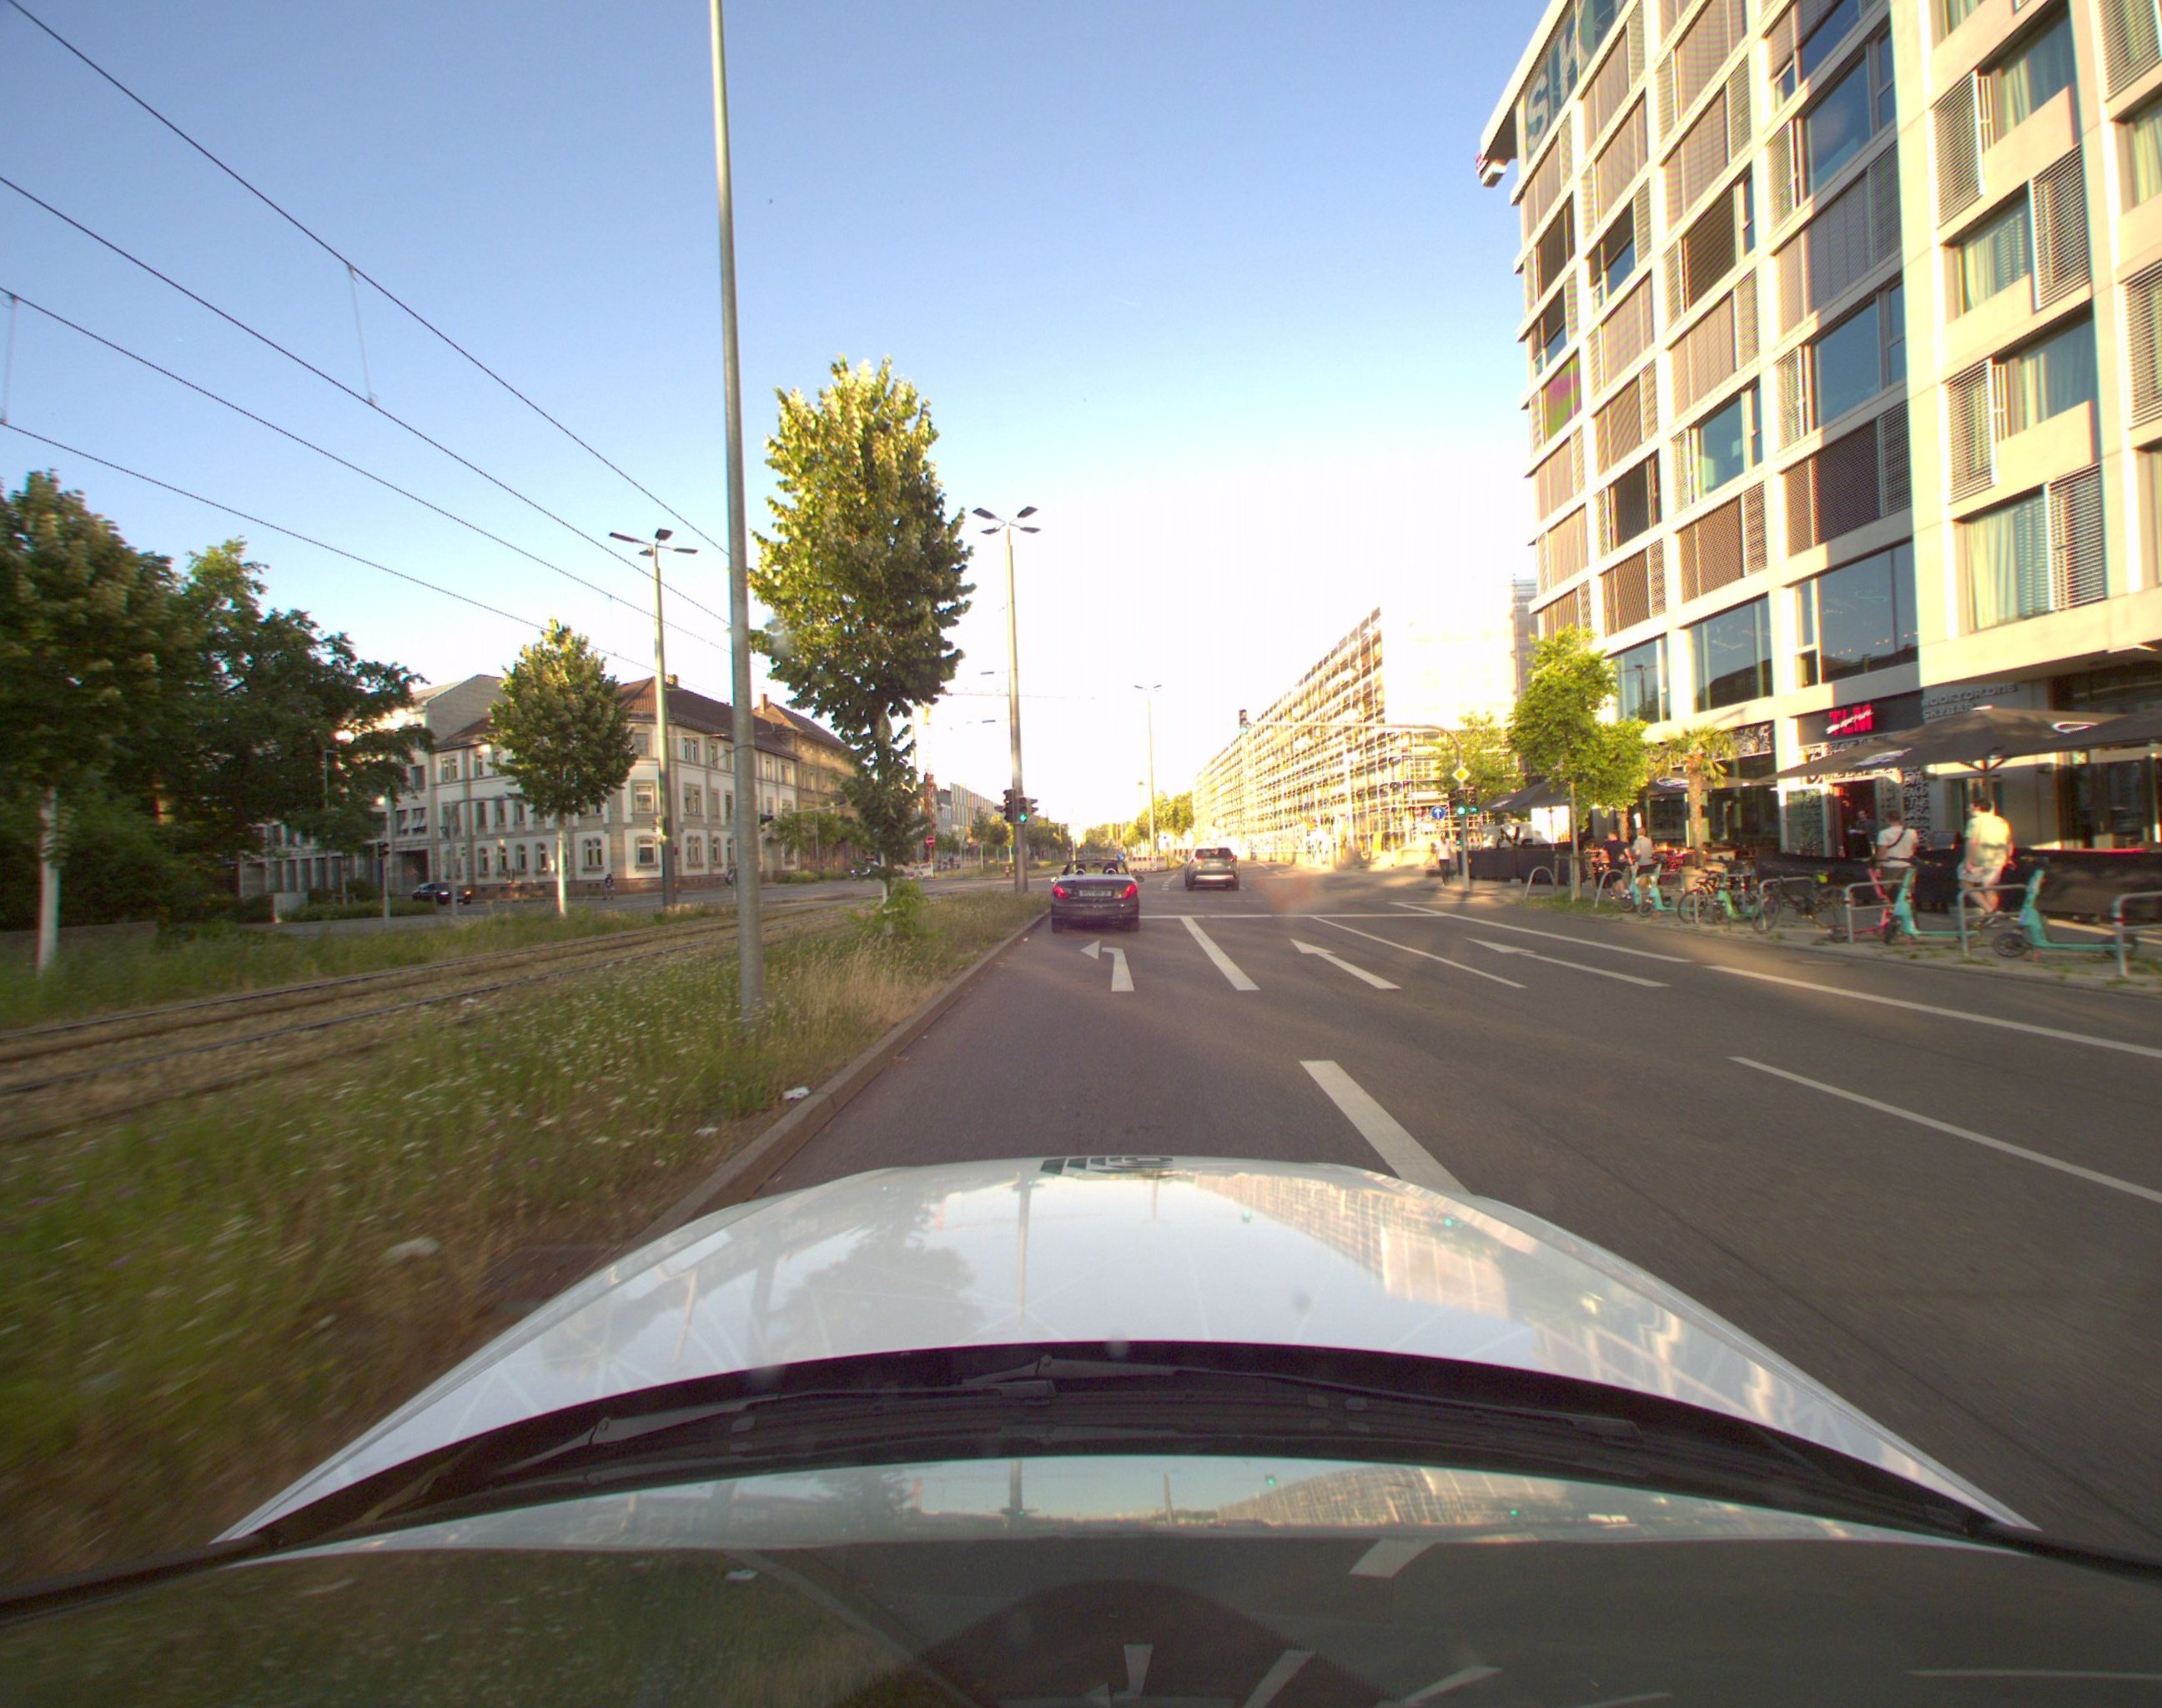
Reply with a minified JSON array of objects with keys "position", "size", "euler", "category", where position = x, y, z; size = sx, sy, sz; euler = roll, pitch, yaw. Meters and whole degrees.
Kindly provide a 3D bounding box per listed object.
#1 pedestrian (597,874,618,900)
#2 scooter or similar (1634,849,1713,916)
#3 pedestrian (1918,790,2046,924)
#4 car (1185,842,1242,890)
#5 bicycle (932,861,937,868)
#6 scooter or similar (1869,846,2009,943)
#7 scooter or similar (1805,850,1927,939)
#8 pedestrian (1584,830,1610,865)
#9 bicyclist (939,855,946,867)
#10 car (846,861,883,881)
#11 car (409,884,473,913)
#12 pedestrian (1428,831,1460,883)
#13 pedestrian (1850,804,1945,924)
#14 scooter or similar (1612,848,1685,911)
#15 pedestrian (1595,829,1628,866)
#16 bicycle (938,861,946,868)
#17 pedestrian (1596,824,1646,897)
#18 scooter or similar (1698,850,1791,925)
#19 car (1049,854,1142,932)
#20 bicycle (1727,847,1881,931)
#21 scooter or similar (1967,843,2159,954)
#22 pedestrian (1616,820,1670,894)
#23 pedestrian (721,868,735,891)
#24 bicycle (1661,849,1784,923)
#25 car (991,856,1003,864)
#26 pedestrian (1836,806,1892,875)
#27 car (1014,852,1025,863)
[{"position":[-27.079,1.871,46.565],"size":[0.601,1.458,0.937],"euler":[0,0,3],"category":"pedestrian"},{"position":[11.641,0.548,16.034],"size":[1.054,1.223,0.551],"euler":[-5,0,11],"category":"scooter or similar"},{"position":[13.506,0.050,12.246],"size":[0.819,1.888,0.868],"euler":[-4,-1,10],"category":"pedestrian"},{"position":[4.943,0.408,30.822],"size":[1.825,1.672,4.289],"euler":[-1,0,5],"category":"car"},{"position":[-19.534,1.405,108.603],"size":[0.589,0.989,1.552],"euler":[0,0,-7],"category":"bicycle"},{"position":[11.683,0.551,11.126],"size":[1.119,1.213,0.534],"euler":[-5,-2,17],"category":"scooter or similar"},{"position":[11.389,0.584,11.842],"size":[1.151,1.191,0.510],"euler":[-4,-2,3],"category":"scooter or similar"},{"position":[19.930,-0.253,31.453],"size":[0.607,1.319,0.624],"euler":[-5,0,20],"category":"pedestrian"},{"position":[-19.130,0.990,112.244],"size":[0.769,1.570,0.793],"euler":[0,0,3],"category":"bicyclist"},{"position":[-19.387,1.477,73.067],"size":[1.985,1.580,4.127],"euler":[-4,0,3],"category":"car"},{"position":[-39.268,2.715,49.953],"size":[3.949,1.555,1.801],"euler":[0,0,31],"category":"car"},{"position":[13.143,0.110,29.526],"size":[0.765,1.847,0.679],"euler":[-3,0,1],"category":"pedestrian"},{"position":[12.820,0.154,12.809],"size":[0.572,1.786,0.831],"euler":[-4,-1,10],"category":"pedestrian"},{"position":[11.975,0.526,17.199],"size":[1.049,1.223,0.598],"euler":[-4,0,-3],"category":"scooter or similar"},{"position":[19.901,-0.243,30.550],"size":[0.740,1.319,0.717],"euler":[-5,0,14],"category":"pedestrian"},{"position":[-19.129,1.459,112.244],"size":[0.769,0.945,1.641],"euler":[0,0,4],"category":"bicycle"},{"position":[13.093,0.145,19.775],"size":[0.651,1.702,0.689],"euler":[-4,0,1],"category":"pedestrian"},{"position":[11.672,0.575,14.347],"size":[1.207,1.201,0.479],"euler":[-5,0,-4],"category":"scooter or similar"},{"position":[0.324,0.716,16.800],"size":[1.668,1.352,4.002],"euler":[-1,0,2],"category":"car"},{"position":[11.586,0.548,13.081],"size":[1.840,1.181,0.608],"euler":[-5,0,1],"category":"bicycle"},{"position":[11.624,0.532,9.687],"size":[1.280,1.218,0.539],"euler":[-5,-1,25],"category":"scooter or similar"},{"position":[13.849,0.063,20.084],"size":[0.682,1.734,0.761],"euler":[-5,0,1],"category":"pedestrian"},{"position":[-26.565,1.935,61.268],"size":[0.700,1.715,0.812],"euler":[0,0,-3],"category":"pedestrian"},{"position":[11.718,0.570,14.901],"size":[1.789,1.193,0.567],"euler":[-5,0,-4],"category":"bicycle"},{"position":[-16.898,1.213,163.813],"size":[1.650,1.431,3.898],"euler":[0,0,3],"category":"car"},{"position":[20.212,-0.349,21.028],"size":[0.852,1.703,0.576],"euler":[-4,0,-7],"category":"pedestrian"},{"position":[-12.408,0.688,163.634],"size":[1.650,1.964,4.270],"euler":[0,0,4],"category":"car"}]
